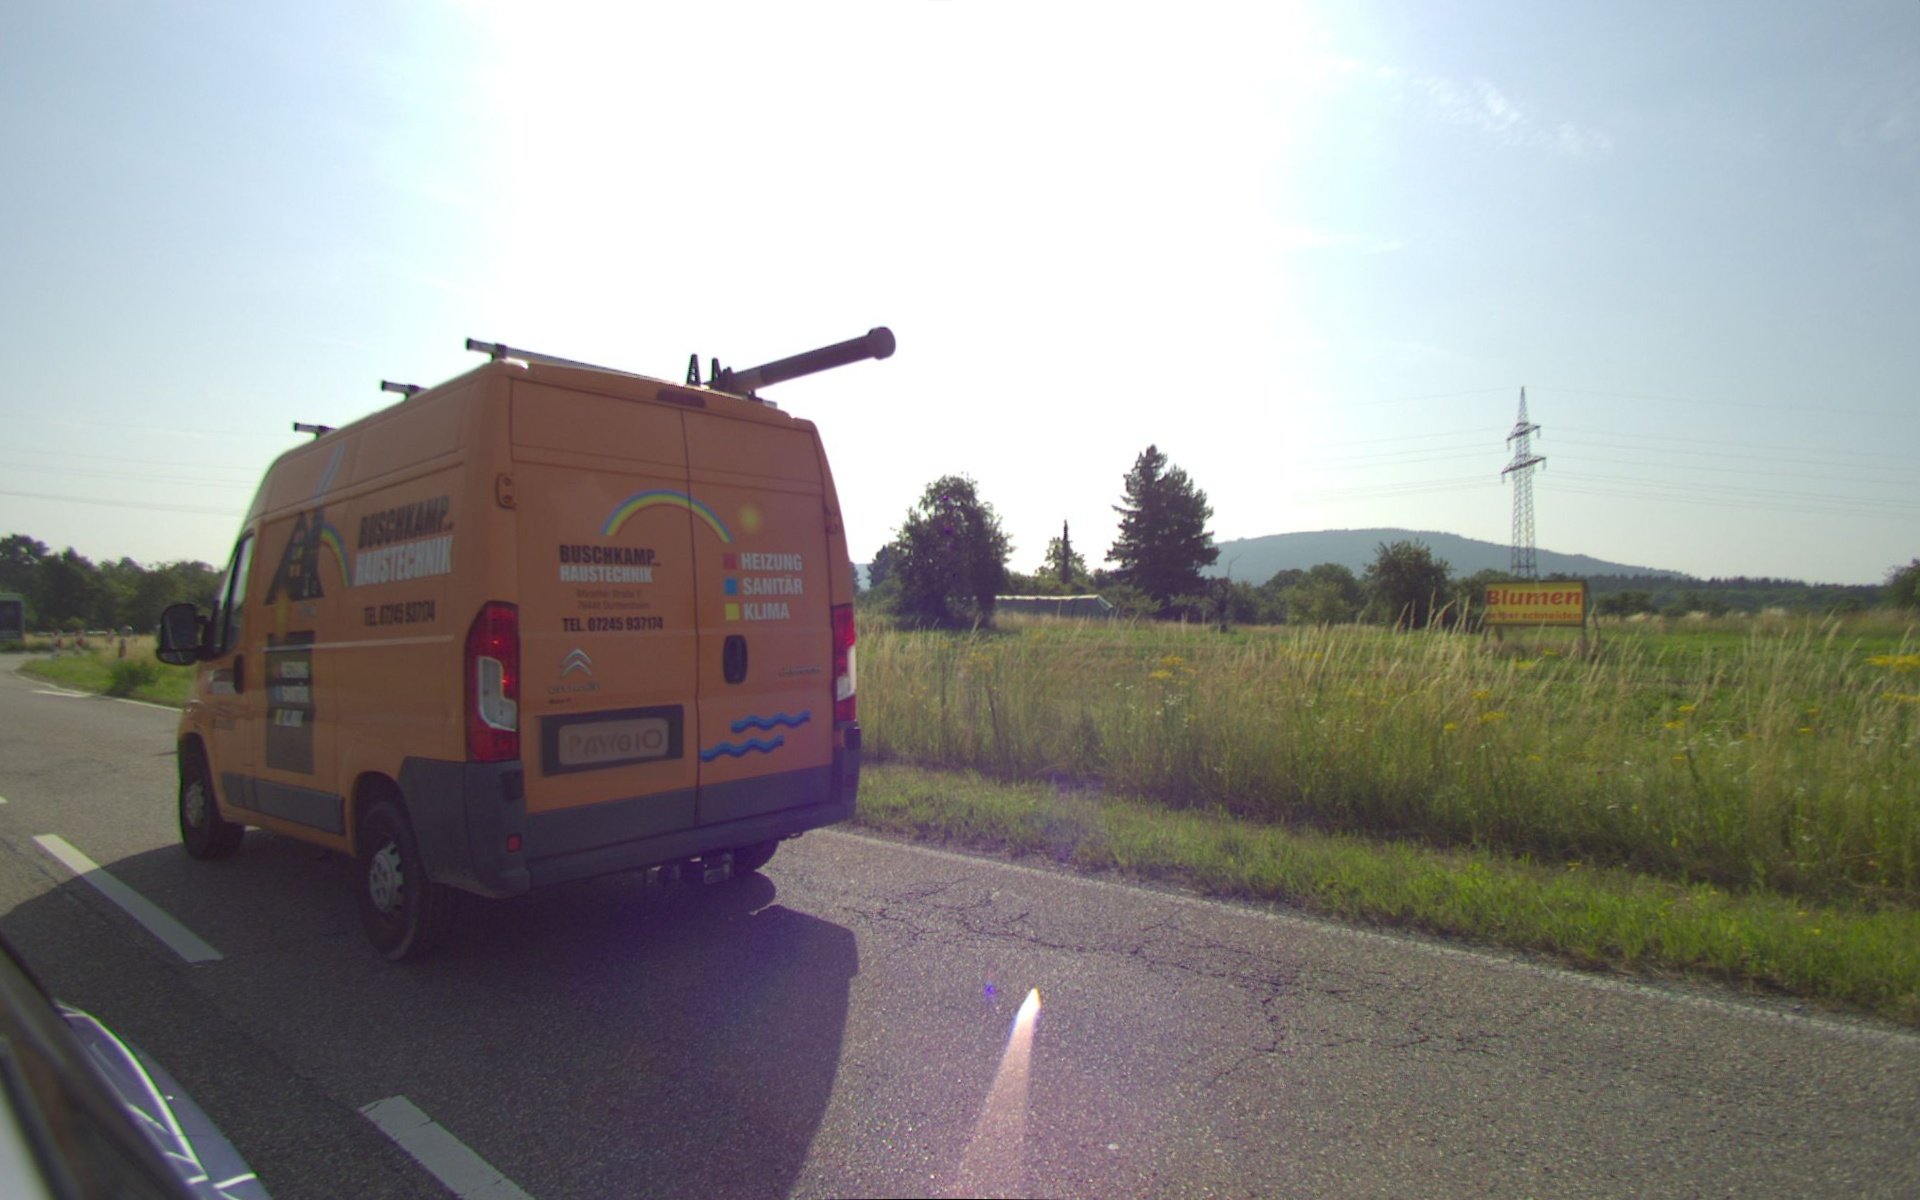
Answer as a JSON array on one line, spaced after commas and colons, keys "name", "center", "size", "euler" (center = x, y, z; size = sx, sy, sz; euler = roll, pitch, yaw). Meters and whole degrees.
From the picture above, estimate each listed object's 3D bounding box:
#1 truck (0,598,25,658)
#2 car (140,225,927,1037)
[{"name": "truck", "center": [-51.587, 1.440, 50.144], "size": [2.571, 3.068, 7.299], "euler": [-1, -1, 26]}, {"name": "car", "center": [-2.846, 0.164, 5.909], "size": [5.264, 2.716, 2.102], "euler": [-2, -2, 41]}]
